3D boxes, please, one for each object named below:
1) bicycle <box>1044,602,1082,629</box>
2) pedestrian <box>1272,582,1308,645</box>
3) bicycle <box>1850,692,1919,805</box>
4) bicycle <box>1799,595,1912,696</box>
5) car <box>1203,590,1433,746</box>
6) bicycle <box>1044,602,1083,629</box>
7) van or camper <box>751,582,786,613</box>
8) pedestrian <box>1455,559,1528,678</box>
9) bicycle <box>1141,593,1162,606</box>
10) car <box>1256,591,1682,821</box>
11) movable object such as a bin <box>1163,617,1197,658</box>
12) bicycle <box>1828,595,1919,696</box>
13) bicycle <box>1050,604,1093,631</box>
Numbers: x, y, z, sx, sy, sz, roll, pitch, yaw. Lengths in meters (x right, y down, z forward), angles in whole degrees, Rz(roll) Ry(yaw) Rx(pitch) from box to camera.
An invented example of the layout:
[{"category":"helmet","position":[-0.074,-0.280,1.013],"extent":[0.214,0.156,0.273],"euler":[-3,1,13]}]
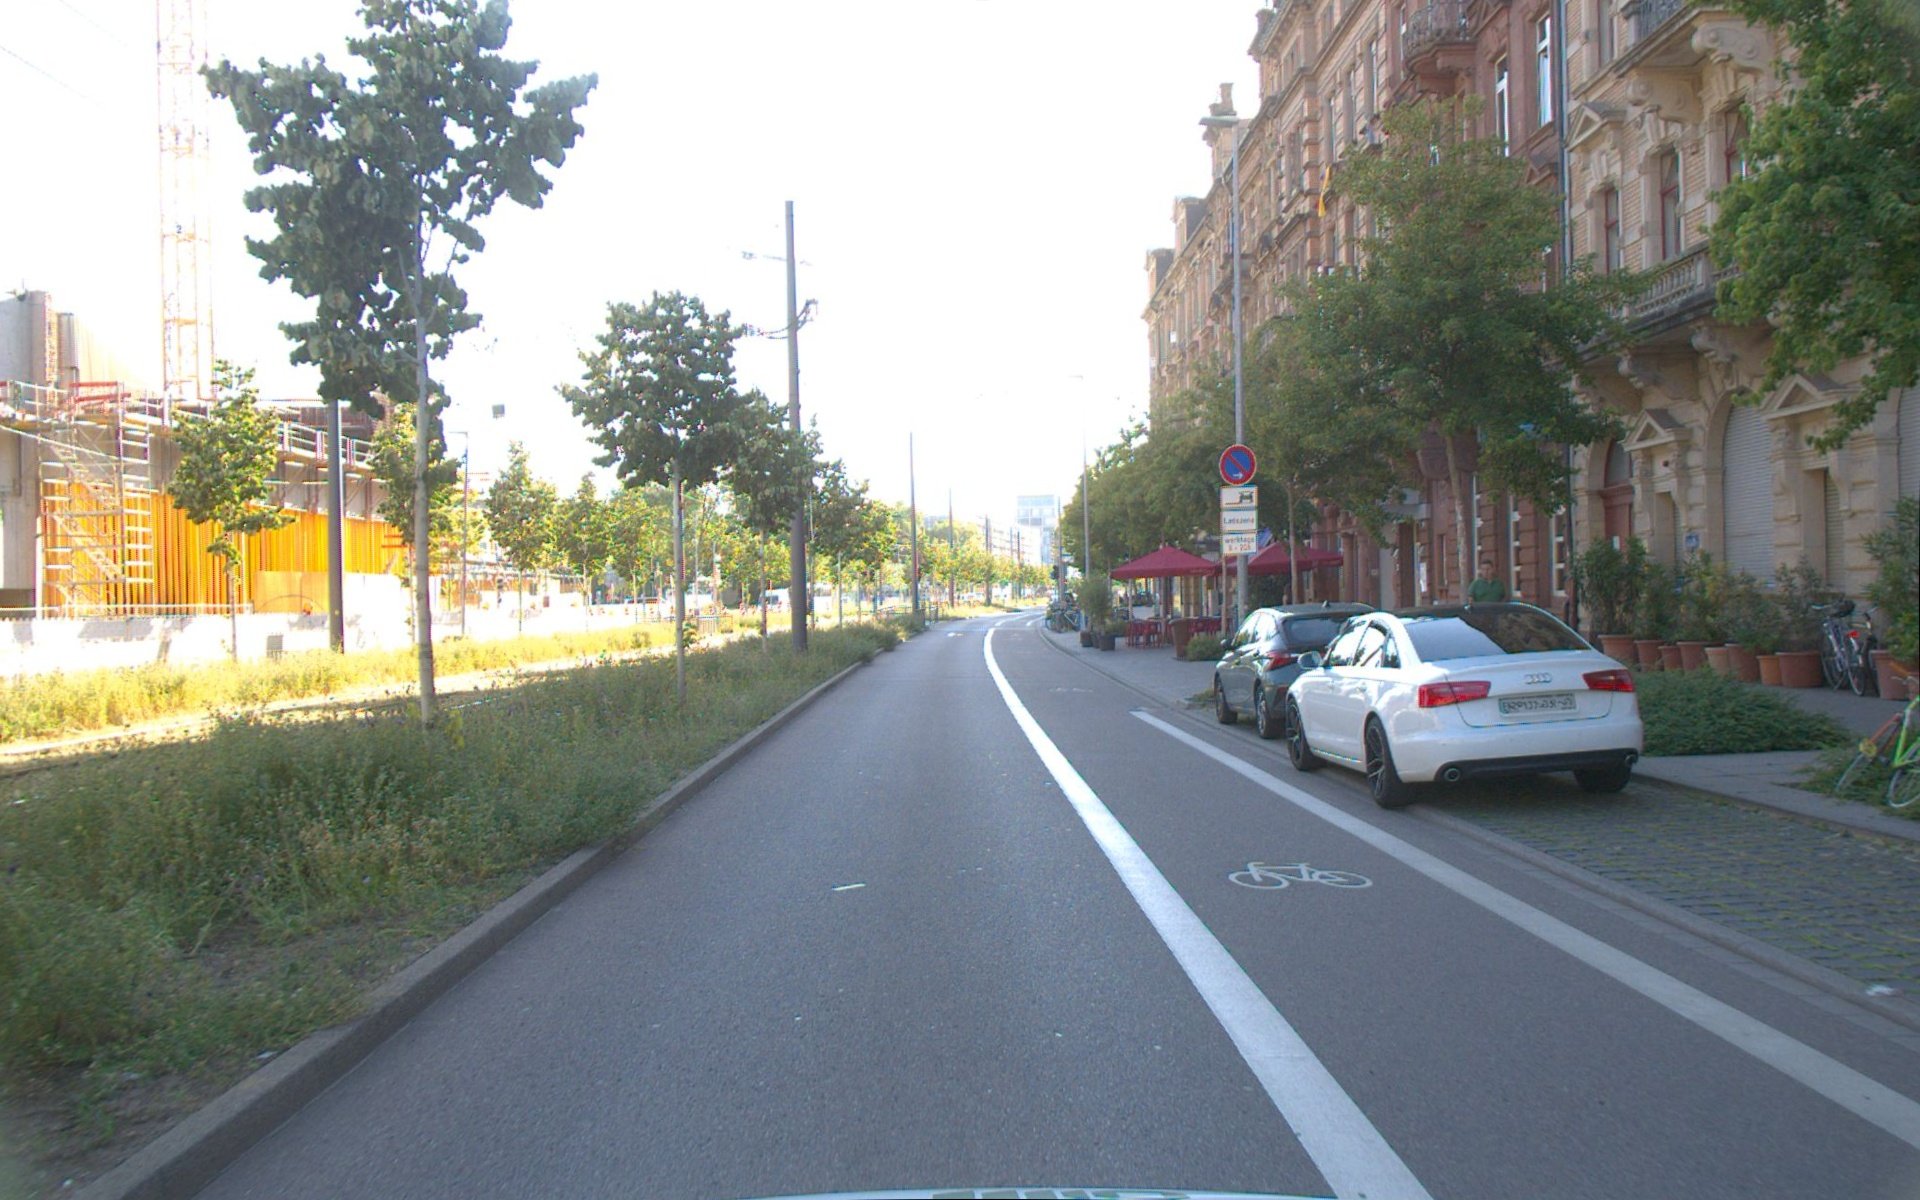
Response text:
[{"category":"bicycle","position":[4.886,0.726,78.202],"extent":[1.717,1.123,0.507],"euler":[-4,0,6]},{"category":"pedestrian","position":[8.575,0.348,42.992],"extent":[0.713,1.560,0.797],"euler":[-3,0,0]},{"category":"bicycle","position":[6.122,0.944,10.535],"extent":[0.347,0.658,1.002],"euler":[-1,0,0]},{"category":"bicycle","position":[10.142,0.491,18.782],"extent":[0.377,1.099,1.676],"euler":[0,0,0]},{"category":"car","position":[4.201,0.733,20.095],"extent":[1.811,1.591,4.297],"euler":[-3,0,0]},{"category":"bicycle","position":[4.861,0.718,77.646],"extent":[1.717,1.123,0.507],"euler":[-4,0,6]},{"category":"van or camper","position":[-16.823,-0.253,145.554],"extent":[2.176,2.553,7.201],"euler":[-3,1,0]},{"category":"pedestrian","position":[8.297,0.280,25.846],"extent":[0.732,1.785,1.072],"euler":[-2,0,0]},{"category":"bicycle","position":[18.216,-0.044,157.211],"extent":[1.860,1.112,0.392],"euler":[-2,0,1]},{"category":"car","position":[3.964,0.722,13.971],"extent":[1.811,1.479,5.251],"euler":[-3,0,-1]},{"category":"movable object such as a bin","position":[5.407,0.922,40.620],"extent":[0.661,0.940,0.560],"euler":[-4,-1,20]},{"category":"bicycle","position":[10.521,0.498,18.840],"extent":[0.377,1.099,1.676],"euler":[0,0,0]},{"category":"bicycle","position":[4.845,0.756,71.755],"extent":[1.767,1.065,0.566],"euler":[-4,0,6]}]
